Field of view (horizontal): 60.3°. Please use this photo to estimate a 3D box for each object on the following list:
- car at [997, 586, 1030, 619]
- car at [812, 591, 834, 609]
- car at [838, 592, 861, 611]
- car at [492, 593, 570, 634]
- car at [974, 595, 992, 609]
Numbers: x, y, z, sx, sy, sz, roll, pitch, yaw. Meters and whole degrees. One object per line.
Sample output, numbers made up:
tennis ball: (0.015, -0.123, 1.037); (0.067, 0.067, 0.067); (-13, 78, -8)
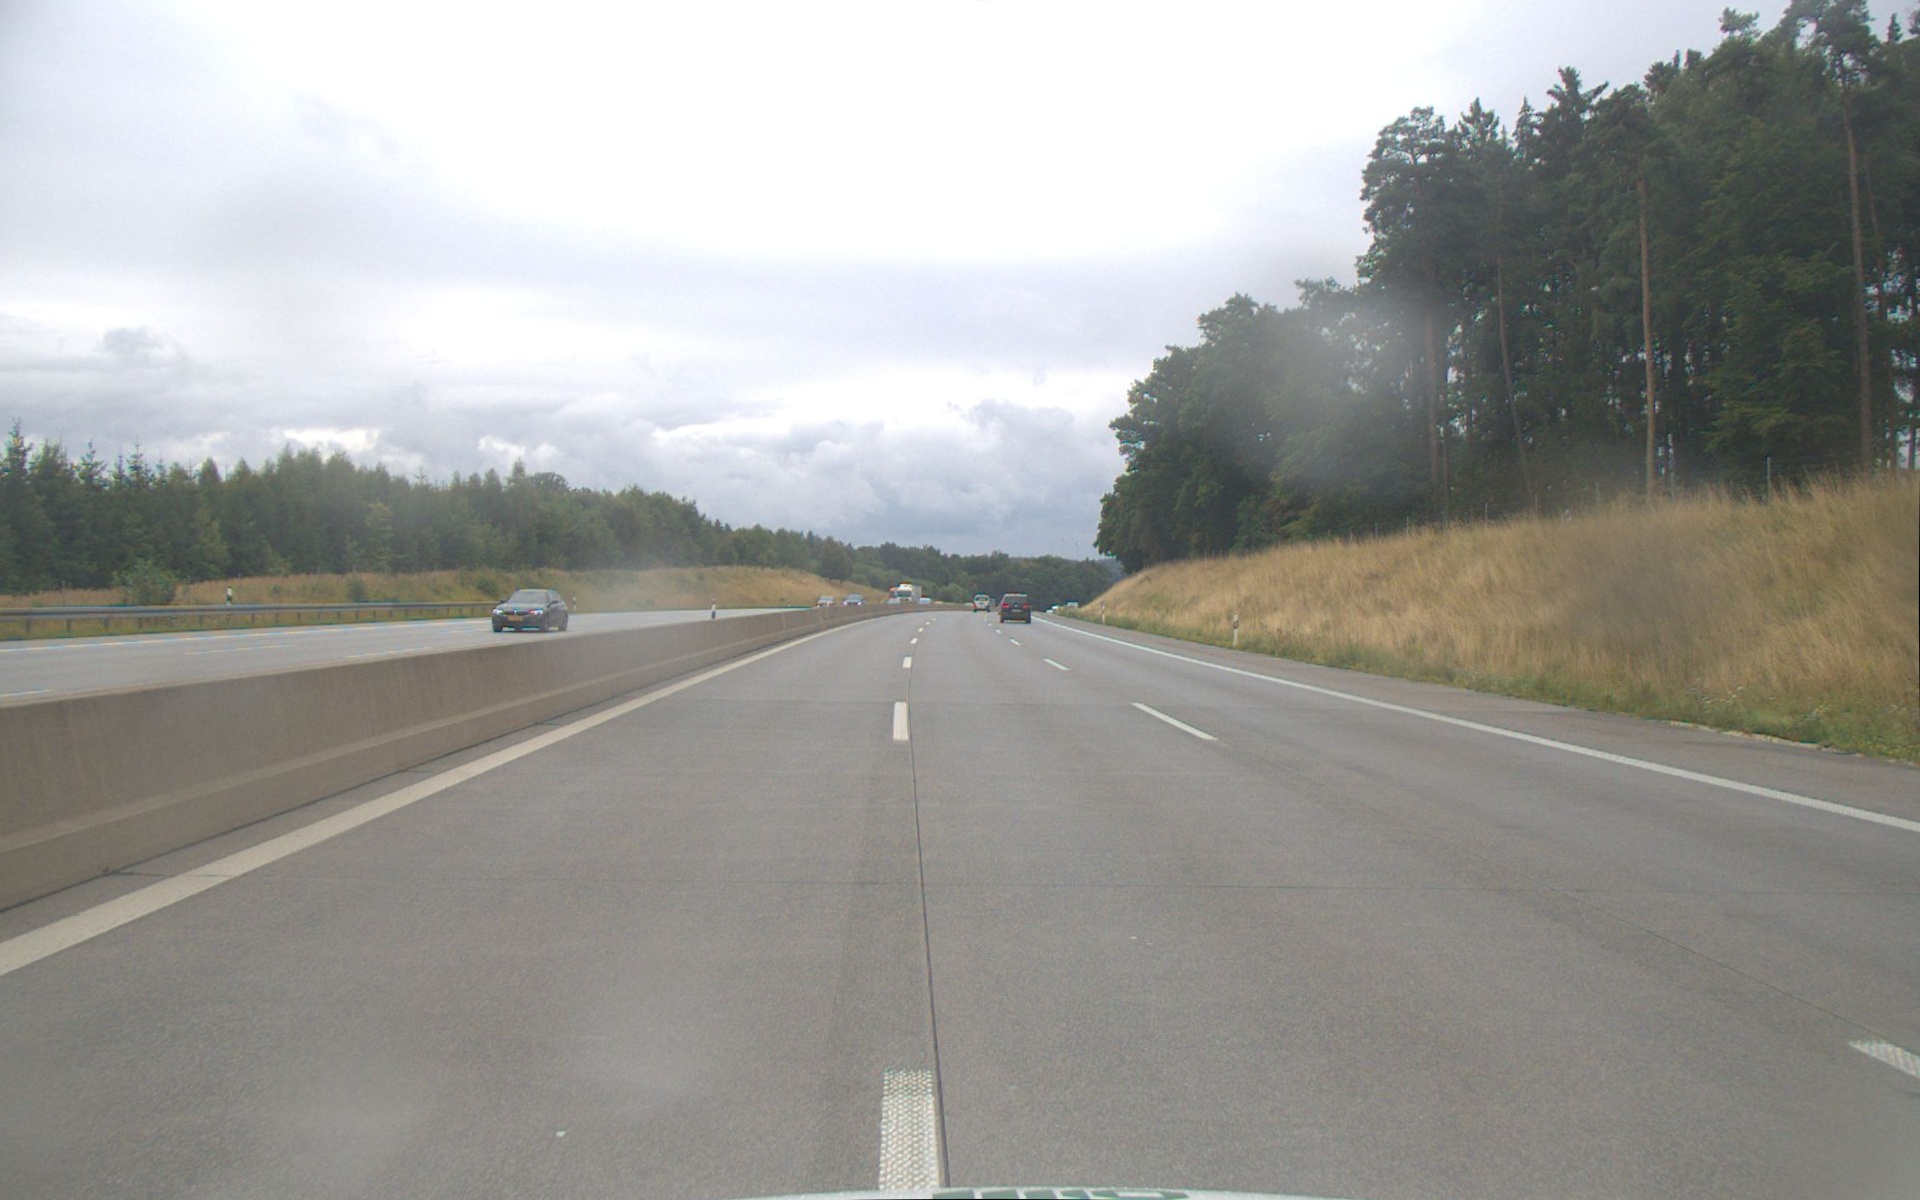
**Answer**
car: (3.186, 0.110, 98.968); (1.748, 1.777, 3.916); (-2, 2, 0)
car: (-14.223, -0.010, 172.038); (1.910, 1.646, 4.000); (-2, 2, 0)
car: (-10.660, 0.102, 160.041); (1.910, 1.646, 4.000); (-2, 2, 0)
car: (-14.764, 0.436, 57.103); (1.732, 1.253, 3.953); (2, 1, -2)
car: (2.680, 0.235, 193.216); (1.804, 1.526, 3.999); (-2, 2, -2)
